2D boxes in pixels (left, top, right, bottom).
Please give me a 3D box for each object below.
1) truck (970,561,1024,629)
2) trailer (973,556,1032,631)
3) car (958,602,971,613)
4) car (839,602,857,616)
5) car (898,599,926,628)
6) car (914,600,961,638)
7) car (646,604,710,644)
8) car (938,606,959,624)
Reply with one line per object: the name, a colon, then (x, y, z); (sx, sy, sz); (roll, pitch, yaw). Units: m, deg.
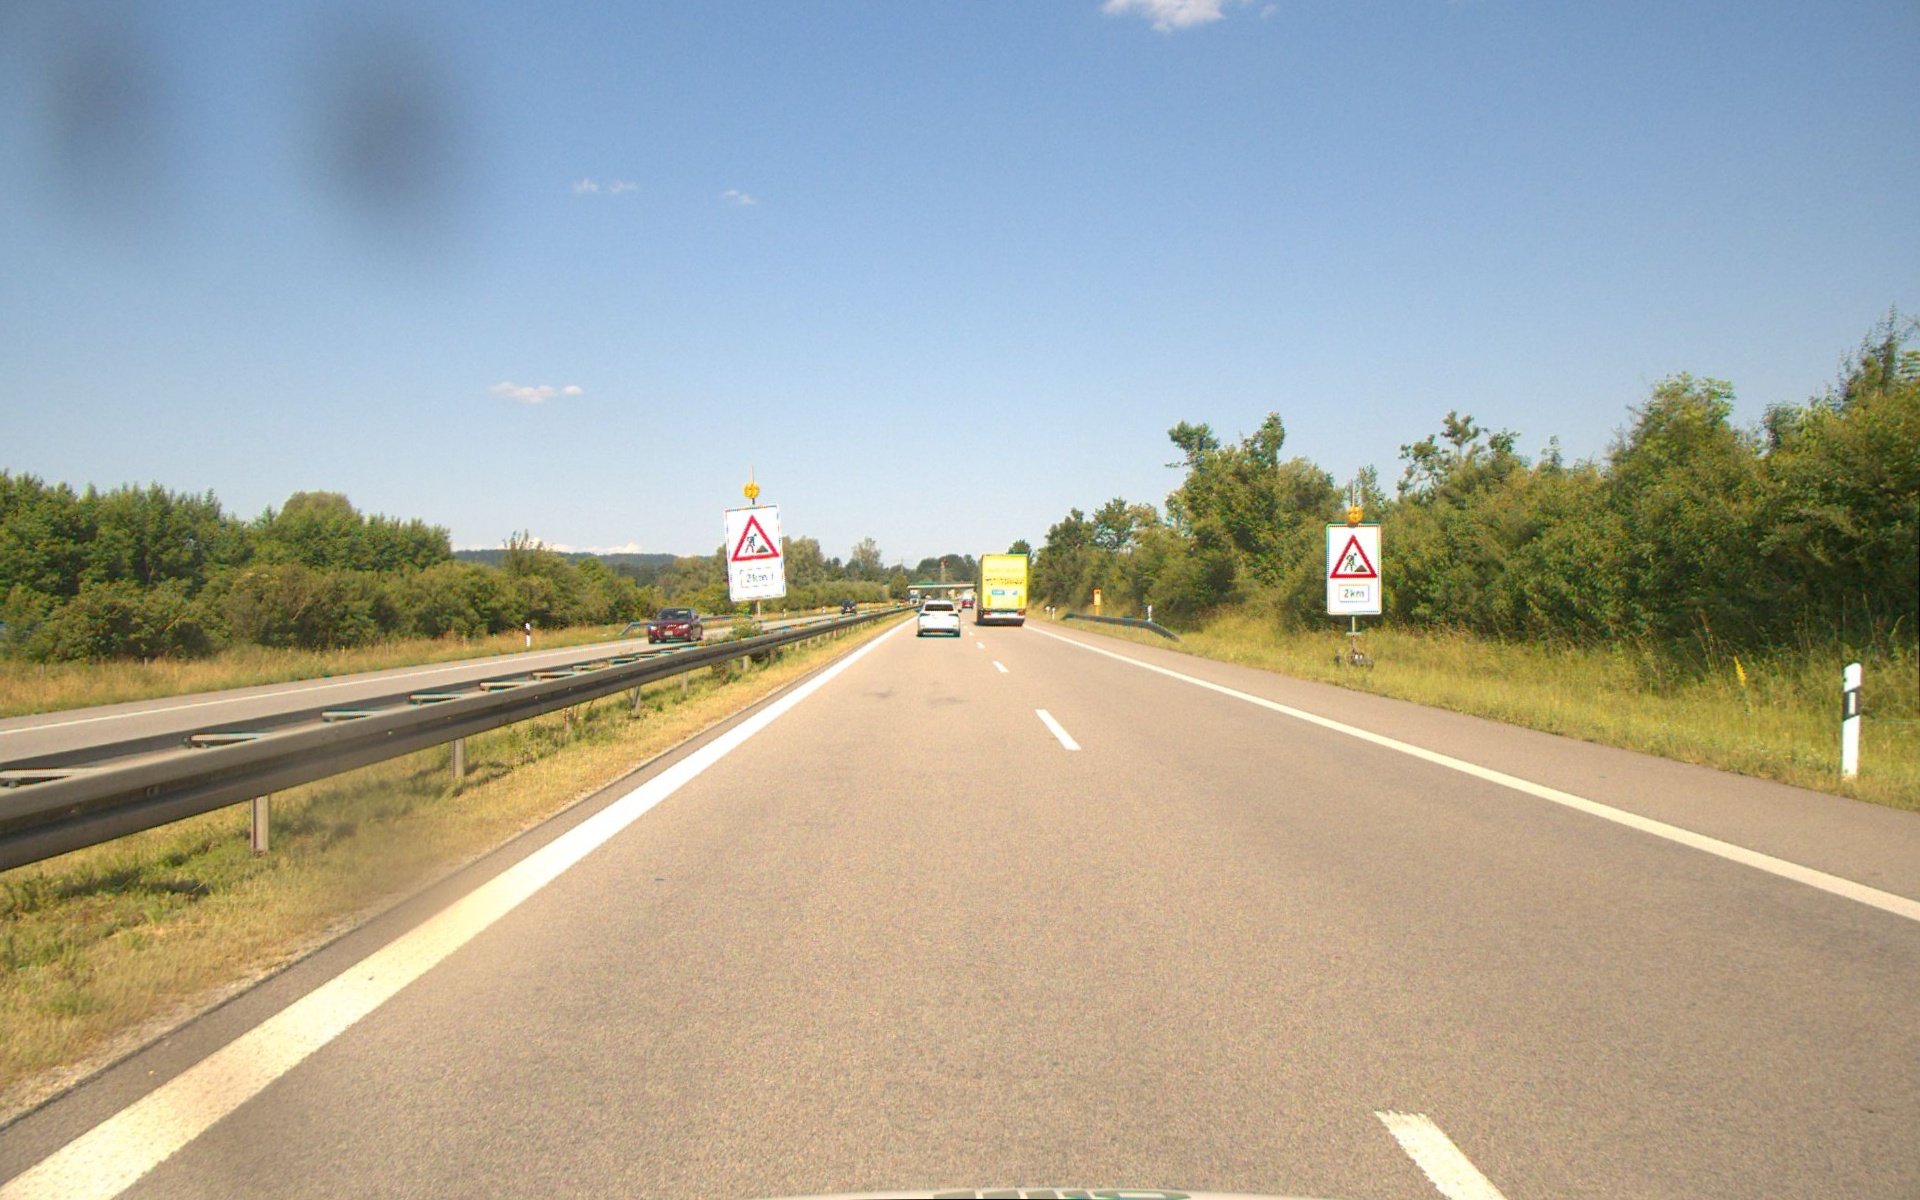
truck: (2.346, -0.306, 106.187); (3.104, 4.186, 6.386); (1, 0, -1)
trailer: (2.436, -0.332, 99.754); (3.119, 4.130, 13.185); (1, 0, 0)
car: (0.632, 1.201, 257.285); (1.863, 1.712, 4.730); (2, 0, -1)
car: (-13.470, 1.072, 199.276); (1.793, 1.599, 4.655); (-2, 0, -1)
car: (-3.519, 0.973, 121.074); (1.953, 2.049, 3.999); (1, 0, -1)
car: (-0.900, 0.765, 67.450); (1.805, 1.440, 4.000); (1, 0, 0)
car: (-11.453, 0.949, 67.375); (1.795, 1.422, 4.921); (-3, 0, -1)
car: (-1.064, 1.392, 152.291); (1.805, 1.546, 4.000); (1, 0, 0)
